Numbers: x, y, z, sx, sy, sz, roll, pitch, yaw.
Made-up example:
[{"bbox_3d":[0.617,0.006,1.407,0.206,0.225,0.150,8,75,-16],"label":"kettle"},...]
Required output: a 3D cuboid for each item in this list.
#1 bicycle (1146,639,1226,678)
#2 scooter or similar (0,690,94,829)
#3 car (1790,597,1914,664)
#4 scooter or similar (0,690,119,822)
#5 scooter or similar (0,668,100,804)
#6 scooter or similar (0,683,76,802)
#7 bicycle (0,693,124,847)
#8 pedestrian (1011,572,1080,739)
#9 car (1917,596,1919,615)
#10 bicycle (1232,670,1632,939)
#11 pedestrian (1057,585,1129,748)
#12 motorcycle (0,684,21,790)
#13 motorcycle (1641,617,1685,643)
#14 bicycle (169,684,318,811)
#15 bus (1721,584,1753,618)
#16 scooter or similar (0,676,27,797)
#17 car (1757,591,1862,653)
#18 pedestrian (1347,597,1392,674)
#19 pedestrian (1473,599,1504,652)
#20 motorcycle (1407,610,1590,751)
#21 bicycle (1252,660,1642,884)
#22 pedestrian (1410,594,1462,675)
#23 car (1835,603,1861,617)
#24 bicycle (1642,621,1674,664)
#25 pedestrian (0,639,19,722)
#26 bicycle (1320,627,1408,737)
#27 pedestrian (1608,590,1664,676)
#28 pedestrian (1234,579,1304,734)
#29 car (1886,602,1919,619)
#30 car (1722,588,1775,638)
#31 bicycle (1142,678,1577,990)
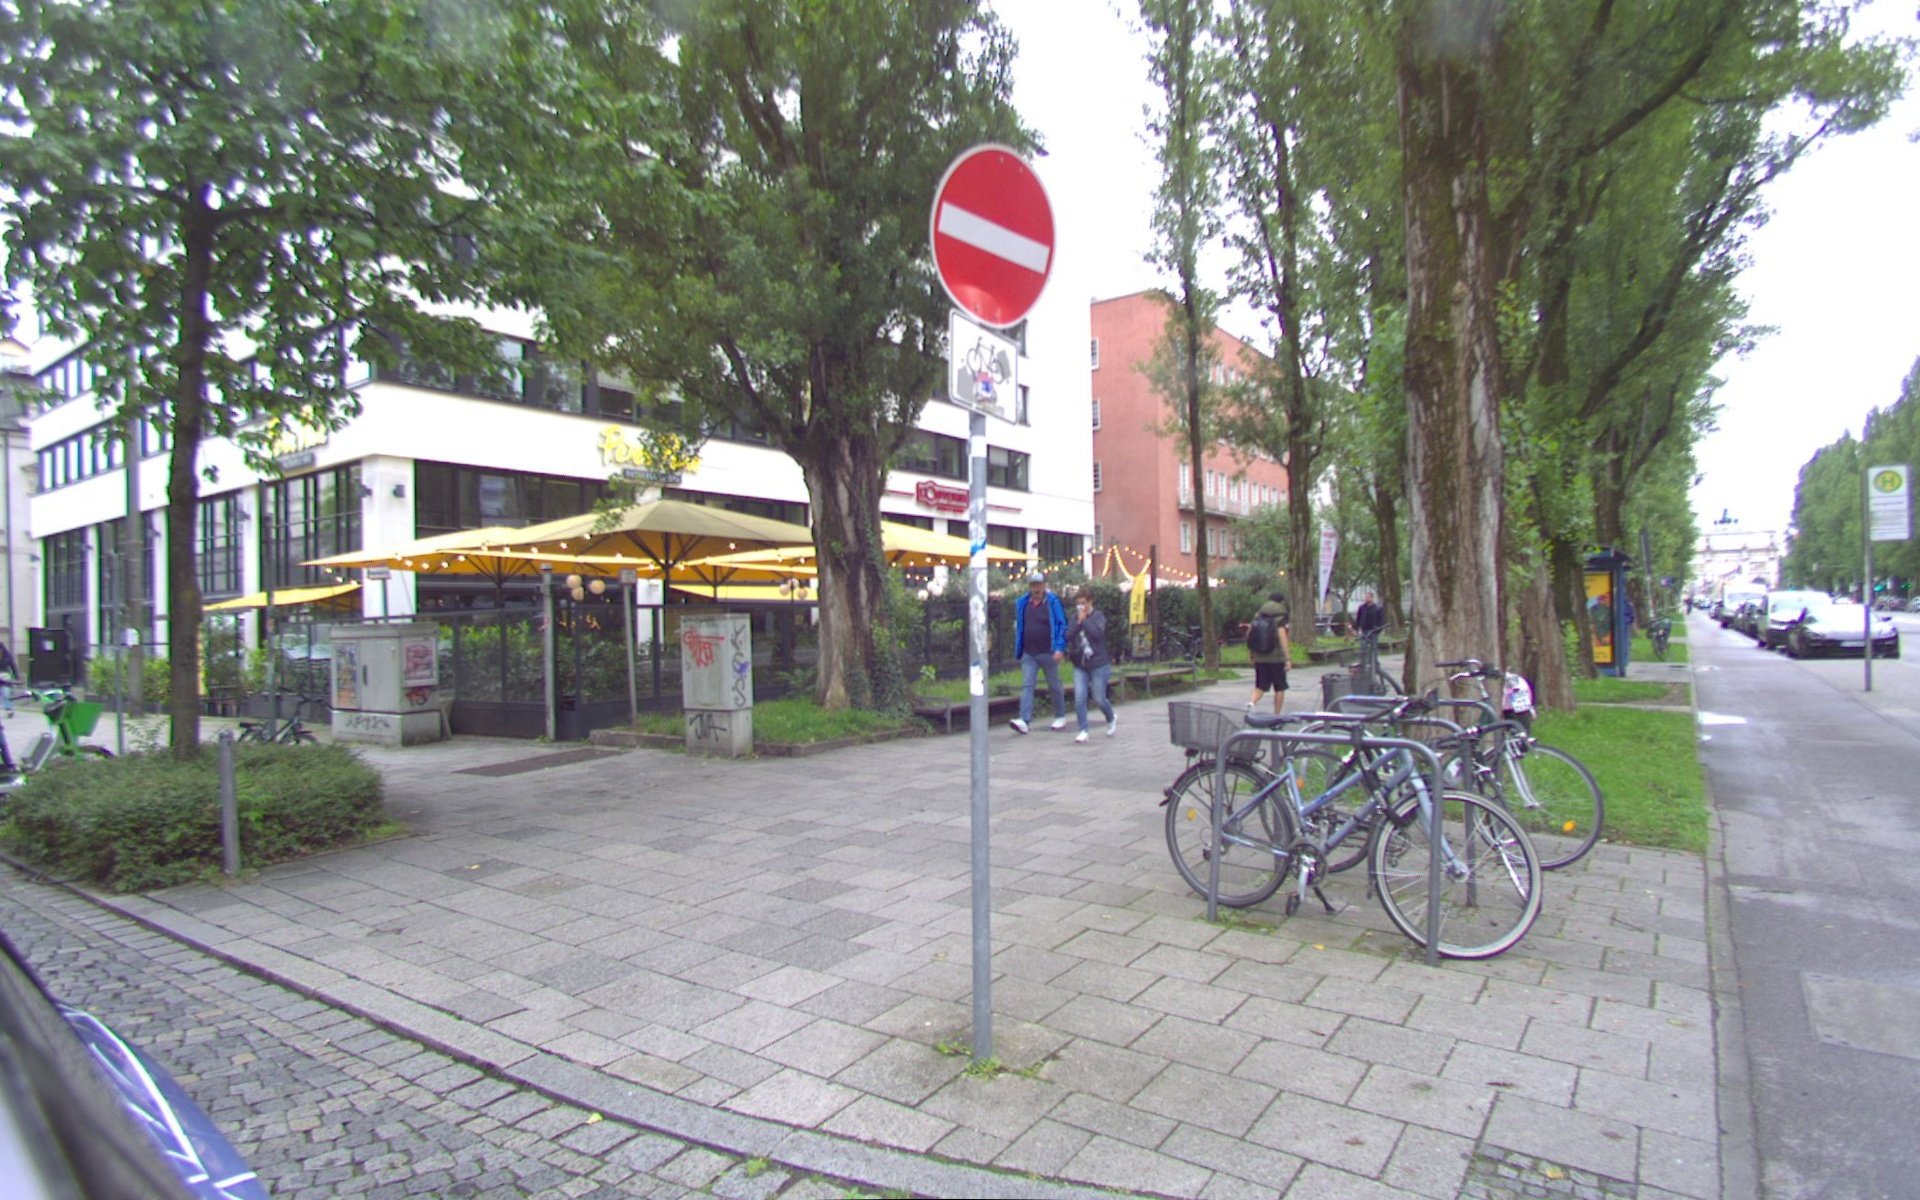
[{"bbox_3d":[5.566,1.440,24.974,1.797,0.919,0.613,-3,-2,34],"label":"bicycle"},{"bbox_3d":[-8.555,1.427,8.960,0.365,1.153,1.425,-1,-1,11],"label":"scooter or similar"},{"bbox_3d":[22.950,0.757,26.196,2.009,1.592,3.951,-2,-2,36],"label":"car"},{"bbox_3d":[-8.903,1.488,9.719,0.327,1.153,1.236,-3,-2,35],"label":"scooter or similar"},{"bbox_3d":[-9.533,1.369,10.367,0.323,1.282,1.249,-2,-1,4],"label":"scooter or similar"},{"bbox_3d":[-10.059,1.491,10.639,1.235,1.189,0.389,-2,-2,4],"label":"scooter or similar"},{"bbox_3d":[-7.939,1.410,8.348,0.547,1.152,1.760,-2,-1,4],"label":"bicycle"},{"bbox_3d":[1.020,0.651,12.023,0.696,1.922,0.642,-2,-2,12],"label":"pedestrian"},{"bbox_3d":[88.886,0.495,92.112,1.996,1.735,4.295,-1,-1,36],"label":"car"},{"bbox_3d":[2.272,0.916,5.037,1.702,1.101,0.485,-3,-2,41],"label":"bicycle"},{"bbox_3d":[1.479,0.721,11.215,0.696,1.741,0.642,-2,-2,12],"label":"pedestrian"},{"bbox_3d":[-11.296,1.547,10.961,0.758,1.205,1.996,0,-3,-14],"label":"motorcycle"},{"bbox_3d":[25.641,1.092,36.931,0.461,0.945,1.661,-2,-1,3],"label":"motorcycle"},{"bbox_3d":[-6.685,1.328,9.417,1.758,1.030,0.547,-3,-2,34],"label":"bicycle"},{"bbox_3d":[99.429,0.164,129.583,2.644,4.143,9.678,-3,-2,35],"label":"bus"},{"bbox_3d":[-10.423,1.469,10.703,0.322,1.283,1.362,-1,-3,-21],"label":"scooter or similar"},{"bbox_3d":[26.563,0.741,31.788,2.007,1.771,3.954,-3,-4,34],"label":"car"},{"bbox_3d":[9.317,0.805,23.033,0.735,1.705,0.638,-3,-2,40],"label":"pedestrian"},{"bbox_3d":[17.308,0.835,33.119,0.735,1.705,0.638,-3,-2,40],"label":"pedestrian"},{"bbox_3d":[5.602,0.782,10.696,0.619,1.204,1.995,-1,3,-8],"label":"motorcycle"},{"bbox_3d":[2.779,0.920,5.964,1.983,1.101,0.485,-3,-2,41],"label":"bicycle"},{"bbox_3d":[10.562,0.760,22.437,0.856,1.724,0.948,-2,-2,34],"label":"pedestrian"},{"bbox_3d":[110.053,1.194,125.503,1.996,1.735,4.295,-1,-1,36],"label":"car"},{"bbox_3d":[17.707,1.064,25.683,0.552,1.030,1.743,-2,-2,32],"label":"bicycle"},{"bbox_3d":[-20.750,1.731,21.786,0.649,1.761,0.569,-2,-2,33],"label":"pedestrian"},{"bbox_3d":[4.851,0.936,12.097,0.582,1.198,1.596,-3,-2,35],"label":"bicycle"},{"bbox_3d":[14.858,0.724,22.260,0.886,1.857,0.760,-2,-2,28],"label":"pedestrian"},{"bbox_3d":[3.727,0.662,12.185,0.747,1.786,0.700,-1,-1,21],"label":"pedestrian"},{"bbox_3d":[97.052,1.089,104.251,1.996,1.735,4.295,-1,-1,36],"label":"car"},{"bbox_3d":[44.658,0.718,57.434,2.008,2.652,5.928,-2,-2,35],"label":"car"},{"bbox_3d":[1.693,0.924,4.501,1.702,1.101,0.485,-3,-2,41],"label":"bicycle"}]
